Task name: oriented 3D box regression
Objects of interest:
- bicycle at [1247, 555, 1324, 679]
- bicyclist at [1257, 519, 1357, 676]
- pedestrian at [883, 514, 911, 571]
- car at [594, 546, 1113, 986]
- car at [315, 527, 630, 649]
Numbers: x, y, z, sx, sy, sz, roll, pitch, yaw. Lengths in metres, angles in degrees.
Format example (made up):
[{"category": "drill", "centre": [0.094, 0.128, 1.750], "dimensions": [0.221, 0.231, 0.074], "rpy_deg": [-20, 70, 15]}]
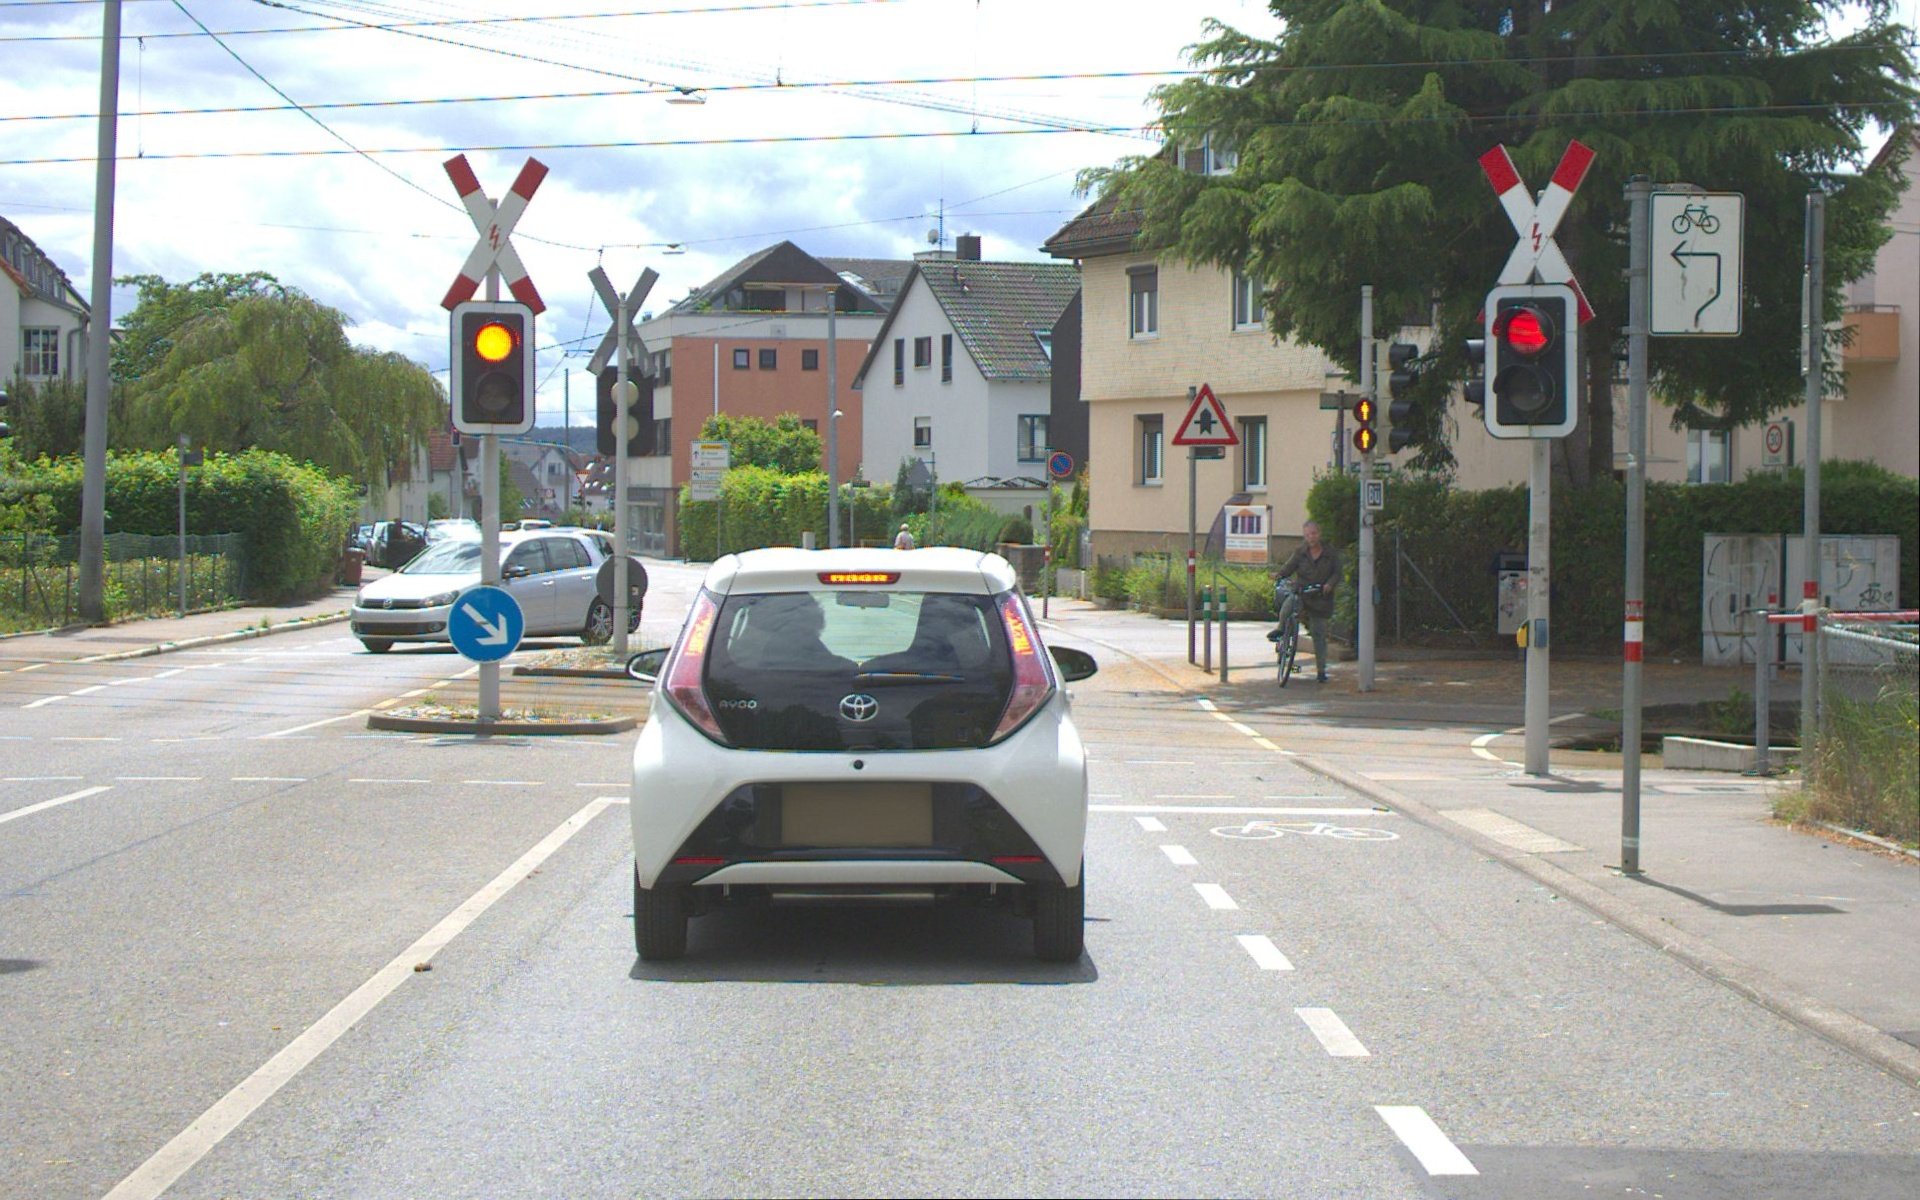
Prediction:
[{"category": "bicycle", "centre": [3.353, 0.161, 35.482], "dimensions": [0.457, 1.168, 1.480], "rpy_deg": [-3, 4, -6]}, {"category": "bicyclist", "centre": [3.573, -0.034, 35.461], "dimensions": [0.840, 1.548, 0.756], "rpy_deg": [-3, 4, -6]}, {"category": "pedestrian", "centre": [-1.739, -1.595, 95.241], "dimensions": [0.726, 1.571, 0.803], "rpy_deg": [1, 1, -1]}, {"category": "car", "centre": [-0.487, 0.537, 13.444], "dimensions": [1.721, 1.437, 3.709], "rpy_deg": [1, 1, -4]}, {"category": "car", "centre": [-6.120, -0.166, 43.620], "dimensions": [1.908, 1.436, 4.092], "rpy_deg": [2, 1, 28]}]
